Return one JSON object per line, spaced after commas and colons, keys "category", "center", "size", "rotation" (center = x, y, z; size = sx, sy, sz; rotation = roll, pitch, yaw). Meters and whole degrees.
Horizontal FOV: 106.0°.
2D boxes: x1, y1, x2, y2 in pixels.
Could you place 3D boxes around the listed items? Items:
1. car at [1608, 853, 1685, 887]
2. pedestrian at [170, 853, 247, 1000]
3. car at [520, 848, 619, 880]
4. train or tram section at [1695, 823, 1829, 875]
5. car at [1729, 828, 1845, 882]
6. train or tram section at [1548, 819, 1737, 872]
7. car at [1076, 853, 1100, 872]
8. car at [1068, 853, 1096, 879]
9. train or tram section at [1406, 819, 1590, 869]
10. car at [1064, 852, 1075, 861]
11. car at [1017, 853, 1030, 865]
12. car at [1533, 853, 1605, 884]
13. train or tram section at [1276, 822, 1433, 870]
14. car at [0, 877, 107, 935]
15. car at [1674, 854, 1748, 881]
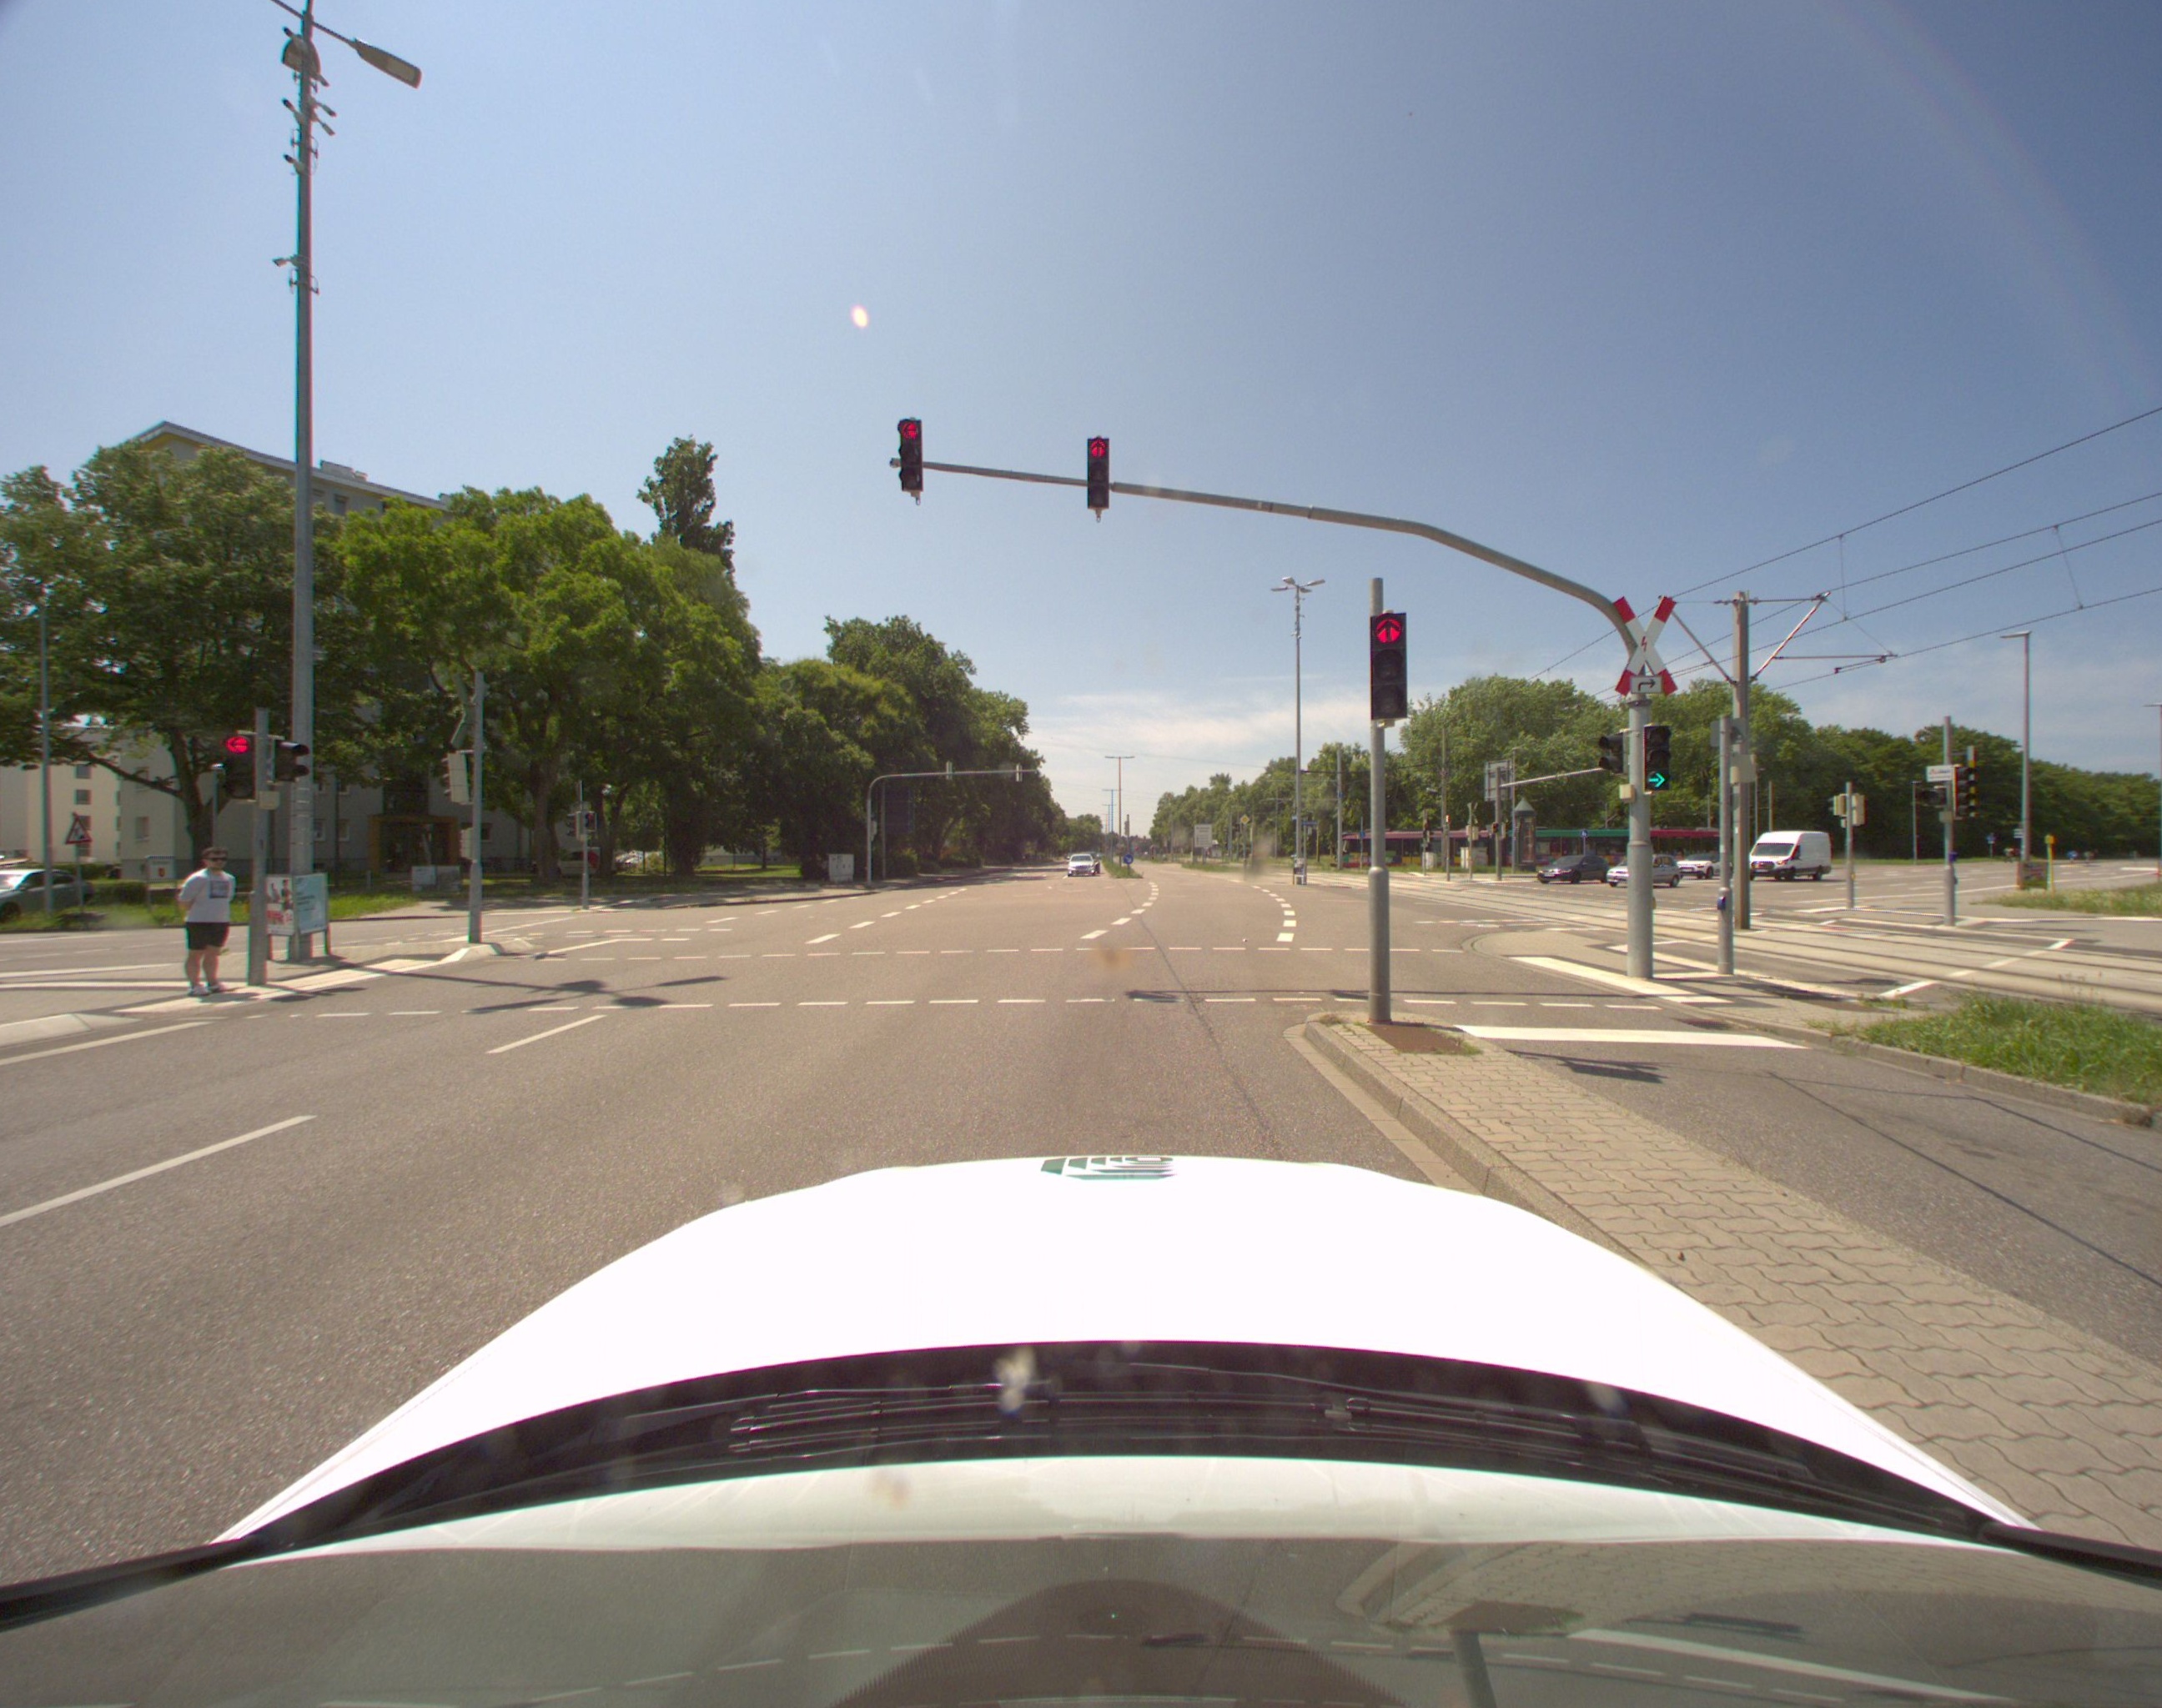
{"category": "car", "center": [25.749, 0.687, 37.056], "size": [3.821, 1.463, 1.623], "rotation": [0, 0, -34]}
{"category": "pedestrian", "center": [-10.312, 0.835, 9.635], "size": [0.381, 1.687, 0.485], "rotation": [0, 0, -2]}
{"category": "car", "center": [-29.673, 0.537, 47.364], "size": [1.769, 1.768, 4.577], "rotation": [0, 0, 41]}
{"category": "train or tram section", "center": [58.492, -0.303, 69.779], "size": [13.980, 3.920, 2.900], "rotation": [2, -3, -24]}
{"category": "car", "center": [39.270, 0.043, 45.263], "size": [7.306, 2.802, 2.691], "rotation": [0, 0, -31]}
{"category": "train or tram section", "center": [45.508, -0.639, 66.147], "size": [13.973, 3.920, 2.918], "rotation": [1, -3, -5]}
{"category": "car", "center": [0.542, 0.633, 61.763], "size": [1.704, 1.365, 3.867], "rotation": [0, 0, 2]}
{"category": "car", "center": [0.110, 0.757, 54.369], "size": [1.778, 1.628, 3.867], "rotation": [0, 0, 2]}
{"category": "train or tram section", "center": [34.003, -0.696, 67.239], "size": [13.297, 3.812, 2.938], "rotation": [0, -3, 21]}
{"category": "car", "center": [-2.020, 0.368, 139.066], "size": [1.665, 1.490, 3.712], "rotation": [0, 0, 2]}
{"category": "car", "center": [-10.258, 0.849, 145.259], "size": [1.988, 2.014, 3.997], "rotation": [3, -1, -2]}
{"category": "car", "center": [24.318, 0.687, 40.576], "size": [3.519, 1.463, 1.624], "rotation": [0, 0, -30]}
{"category": "train or tram section", "center": [24.130, -0.566, 72.502], "size": [12.905, 3.812, 2.942], "rotation": [-1, -4, 35]}
{"category": "car", "center": [-29.195, 1.383, 22.175], "size": [1.629, 1.380, 3.973], "rotation": [1, 0, -20]}
{"category": "car", "center": [36.206, 0.754, 46.785], "size": [4.503, 1.463, 1.626], "rotation": [0, 0, -27]}
